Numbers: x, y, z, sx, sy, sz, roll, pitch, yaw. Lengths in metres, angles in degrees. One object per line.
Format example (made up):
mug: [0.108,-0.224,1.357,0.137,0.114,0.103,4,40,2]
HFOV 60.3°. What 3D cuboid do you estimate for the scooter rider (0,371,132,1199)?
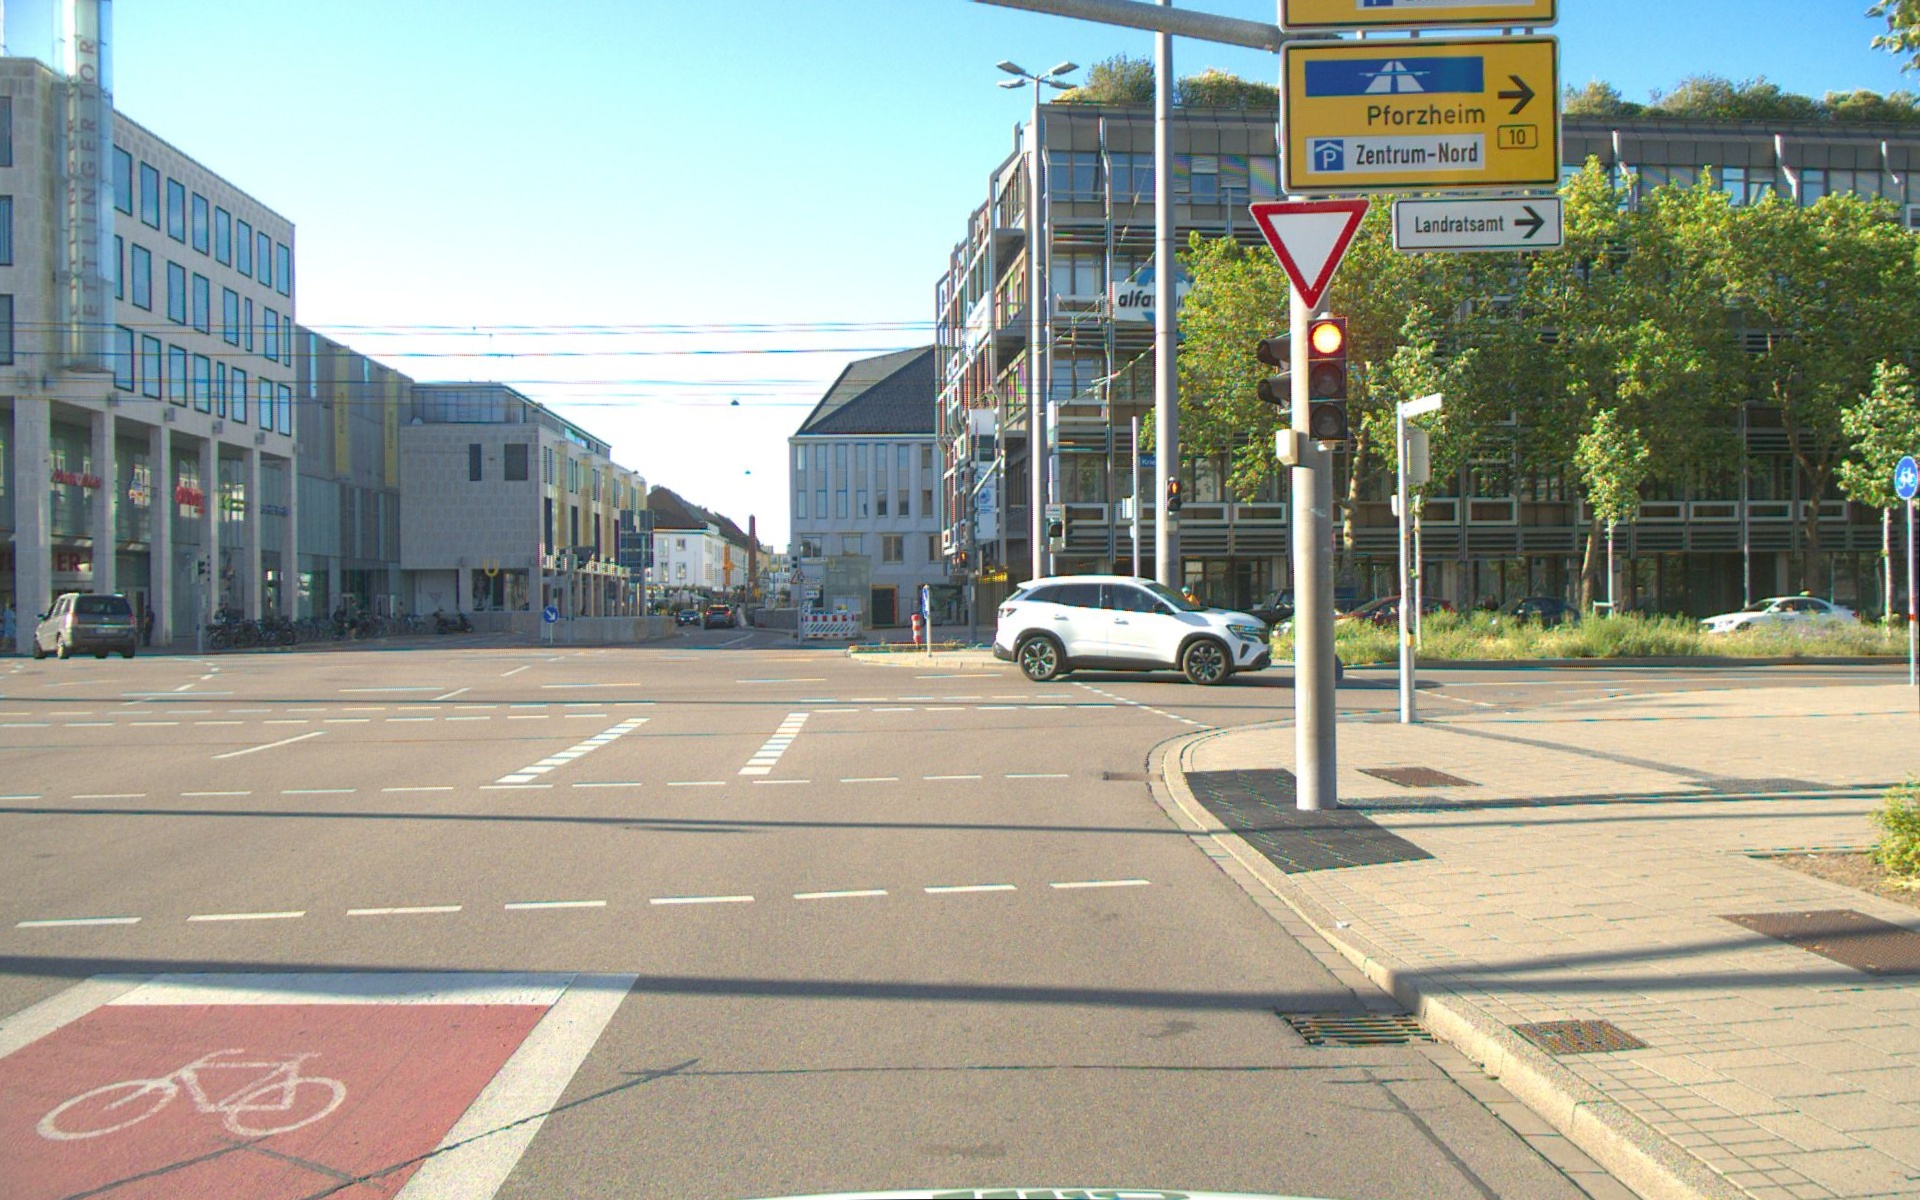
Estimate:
scooter rider: [-1.898,0.536,2.670,0.713,1.806,0.811,0,0,-1]

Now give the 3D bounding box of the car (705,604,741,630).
car: [-15.487,1.104,108.160,2.157,1.635,4.320,-1,0,-6]

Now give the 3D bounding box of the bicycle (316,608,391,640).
bicycle: [-30.877,1.219,84.264,3.430,1.554,0.984,-1,0,-12]

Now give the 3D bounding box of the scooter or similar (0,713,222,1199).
scooter or similar: [-1.896,0.852,2.634,0.713,1.223,1.664,0,0,-1]

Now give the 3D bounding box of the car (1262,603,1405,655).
car: [11.444,0.870,50.809,3.908,1.534,1.867,1,0,-4]

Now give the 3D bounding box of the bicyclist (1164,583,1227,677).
bicyclist: [6.722,0.838,47.218,1.539,2.625,0.930,-1,0,-10]

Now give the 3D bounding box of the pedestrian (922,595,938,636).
pedestrian: [-1.260,0.653,69.578,0.650,1.687,0.755,-1,0,-4]

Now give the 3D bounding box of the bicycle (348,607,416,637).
bicycle: [-31.939,1.204,91.423,3.430,1.554,0.984,-1,0,-12]

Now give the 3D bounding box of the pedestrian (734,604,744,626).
pedestrian: [-14.475,0.989,108.194,0.598,1.436,0.569,-1,0,-7]

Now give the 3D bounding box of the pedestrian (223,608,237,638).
pedestrian: [-36.540,1.136,82.781,0.629,1.460,0.472,-1,0,-23]

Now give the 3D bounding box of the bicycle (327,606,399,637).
bicycle: [-31.064,1.126,86.125,3.430,1.554,0.984,-1,0,-12]

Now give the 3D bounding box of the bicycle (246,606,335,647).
bicycle: [-29.092,1.129,71.923,3.427,1.726,1.114,-1,0,-10]

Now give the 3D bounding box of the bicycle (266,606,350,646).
bicycle: [-29.791,1.184,75.580,3.430,1.726,0.984,-1,0,-12]

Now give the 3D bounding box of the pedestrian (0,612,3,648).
pedestrian: [-39.138,1.229,67.215,0.382,1.437,0.433,-1,0,-29]

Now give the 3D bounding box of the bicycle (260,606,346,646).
bicycle: [-29.567,1.174,74.492,3.430,1.726,0.984,-1,0,-12]

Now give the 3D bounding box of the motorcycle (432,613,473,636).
motorcycle: [-29.946,1.442,97.592,2.230,1.341,0.719,-1,0,-6]

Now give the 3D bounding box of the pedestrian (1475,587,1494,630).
pedestrian: [20.132,0.330,63.503,0.529,1.618,0.586,-1,0,-3]

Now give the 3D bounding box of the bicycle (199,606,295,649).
bicycle: [-29.316,1.119,68.031,3.427,1.726,1.114,-1,0,-10]

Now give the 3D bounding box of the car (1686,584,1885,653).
car: [26.176,0.585,52.568,5.332,2.049,2.096,1,0,-3]

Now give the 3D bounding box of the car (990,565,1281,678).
car: [2.823,0.361,26.428,4.299,1.689,2.001,-1,-1,18]

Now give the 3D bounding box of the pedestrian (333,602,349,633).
pedestrian: [-33.583,0.955,89.762,0.641,1.671,0.693,-1,0,-9]

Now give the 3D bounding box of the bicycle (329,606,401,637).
bicycle: [-31.381,1.114,87.242,3.430,1.554,0.984,-1,0,-12]

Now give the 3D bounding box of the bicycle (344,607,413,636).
bicycle: [-31.775,1.174,90.398,3.430,1.554,0.984,-1,0,-12]

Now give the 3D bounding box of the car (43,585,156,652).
car: [-22.625,0.436,43.398,1.979,1.635,4.422,0,1,-37]

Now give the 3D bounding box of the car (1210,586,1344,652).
car: [10.309,0.604,53.913,3.907,2.049,1.999,1,0,-3]

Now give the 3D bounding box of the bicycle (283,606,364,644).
bicycle: [-30.330,1.194,78.865,3.430,1.726,0.984,-1,0,-12]

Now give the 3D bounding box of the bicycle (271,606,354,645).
bicycle: [-30.032,1.185,76.779,3.430,1.726,0.984,-1,0,-12]

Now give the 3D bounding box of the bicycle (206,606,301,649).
bicycle: [-29.549,1.142,69.231,3.427,1.726,1.114,-1,0,-10]

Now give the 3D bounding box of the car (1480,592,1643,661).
car: [18.831,0.827,51.873,4.359,2.049,1.998,1,0,-6]

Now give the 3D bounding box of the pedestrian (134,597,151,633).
pedestrian: [-34.686,0.639,70.179,0.472,1.537,0.513,-1,0,-5]

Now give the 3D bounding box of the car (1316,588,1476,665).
car: [12.235,0.739,46.572,3.907,2.049,1.999,1,0,-3]

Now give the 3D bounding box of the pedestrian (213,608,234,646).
pedestrian: [-33.414,1.212,75.058,0.772,1.671,0.692,-1,0,-17]

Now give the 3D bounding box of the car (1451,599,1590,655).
car: [18.673,0.891,55.202,3.908,1.780,1.998,1,0,-5]

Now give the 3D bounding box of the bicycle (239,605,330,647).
bicycle: [-28.862,1.093,70.711,3.427,1.726,1.114,-1,0,-10]

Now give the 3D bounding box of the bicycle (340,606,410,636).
bicycle: [-31.472,1.144,89.016,3.430,1.554,0.984,-1,0,-12]

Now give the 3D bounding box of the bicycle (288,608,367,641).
bicycle: [-30.535,1.177,79.854,3.430,1.554,0.984,-1,0,-12]

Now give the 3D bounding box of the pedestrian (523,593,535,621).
pedestrian: [-31.168,0.515,119.542,0.613,2.049,0.734,-1,0,1]

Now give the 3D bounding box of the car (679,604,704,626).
car: [-23.494,1.306,144.790,1.722,1.814,3.997,-1,0,-4]

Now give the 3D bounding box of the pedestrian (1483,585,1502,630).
pedestrian: [20.245,0.294,62.869,0.529,1.698,0.536,-1,0,-3]
